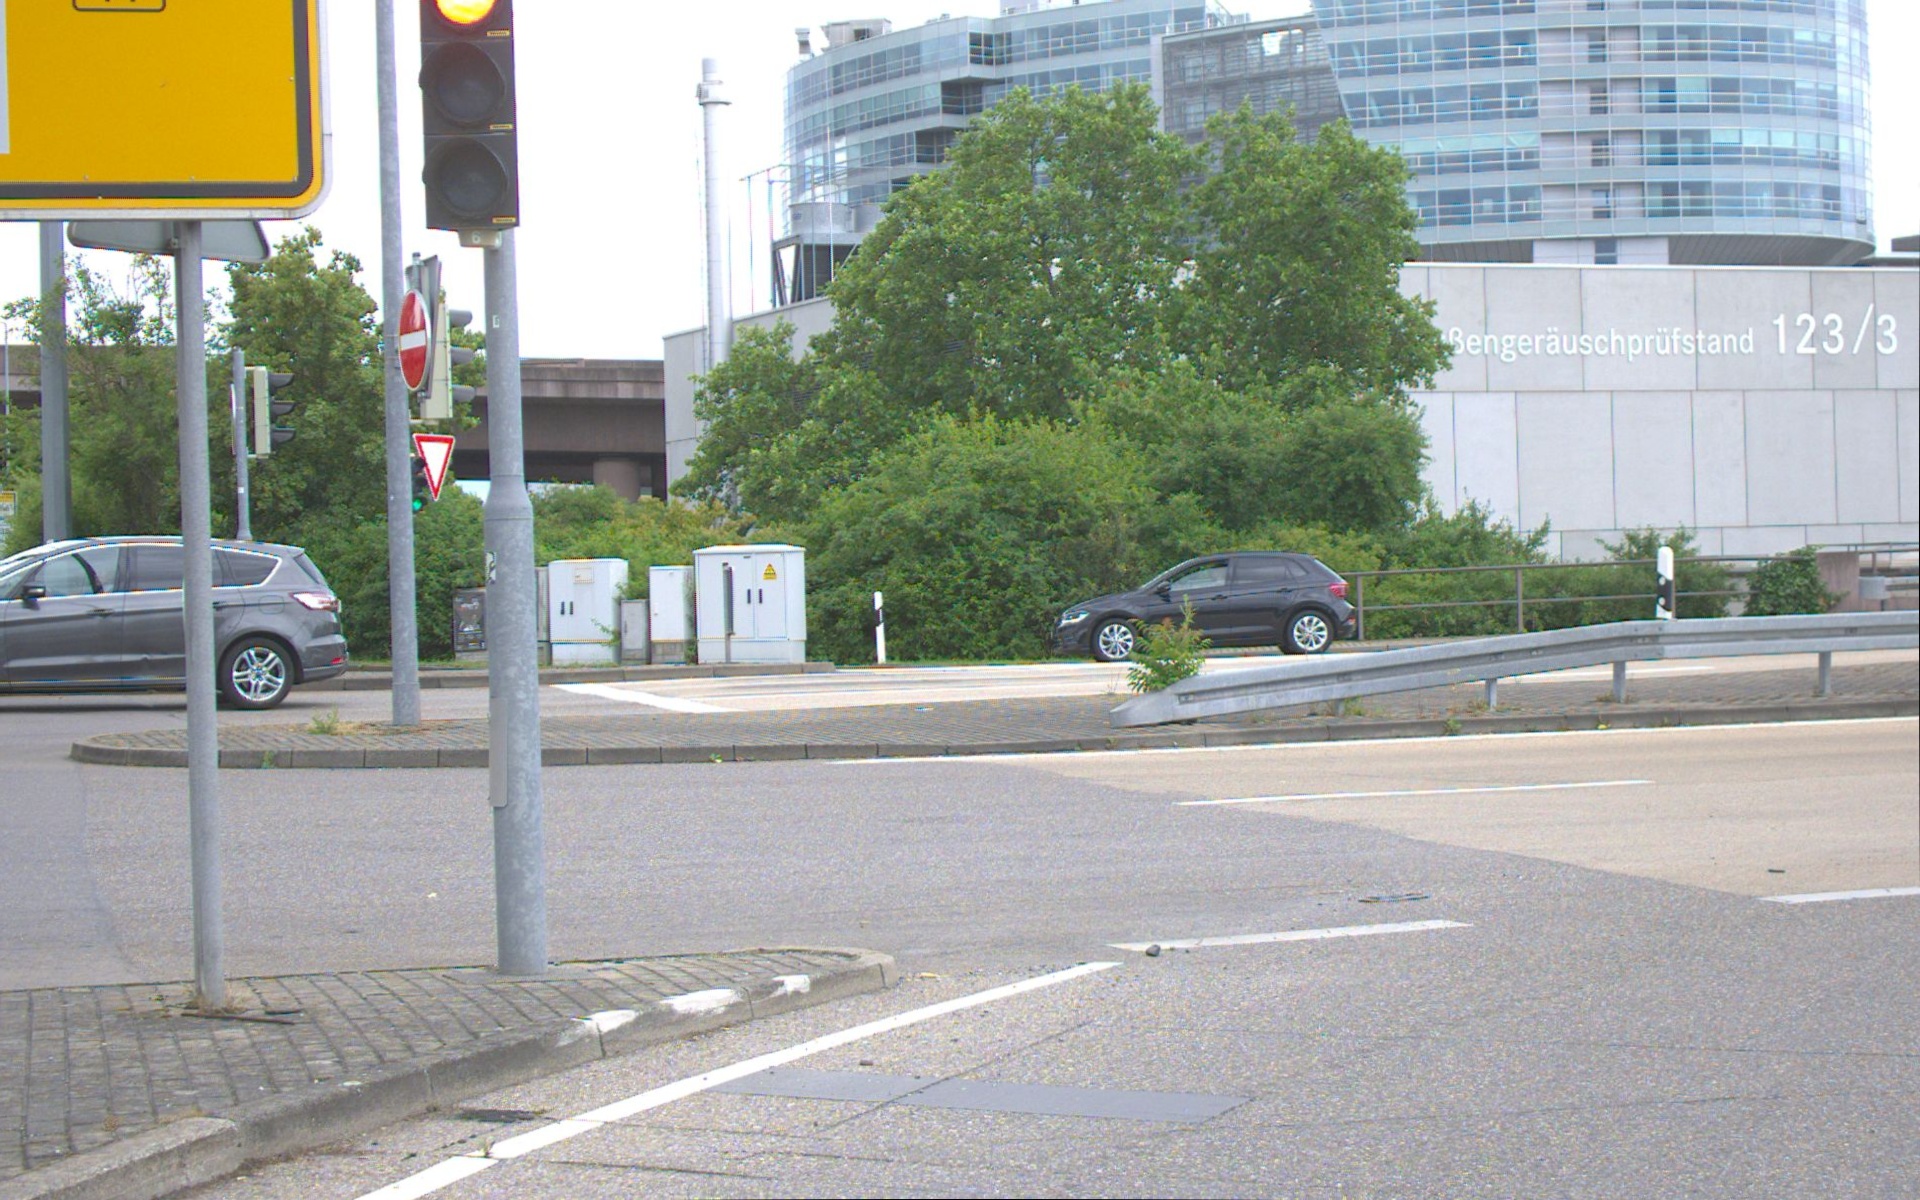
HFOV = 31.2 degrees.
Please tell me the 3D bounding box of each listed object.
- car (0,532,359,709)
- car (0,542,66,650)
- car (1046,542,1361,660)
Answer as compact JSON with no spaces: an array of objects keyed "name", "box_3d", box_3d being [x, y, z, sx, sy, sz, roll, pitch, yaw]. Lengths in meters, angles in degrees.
[{"name":"car","box_3d":[-8.232,0.165,32.564,4.677,1.566,1.956,-1,2,-23]},{"name":"car","box_3d":[-16.702,-0.154,56.377,1.910,1.656,4.745,2,1,-42]},{"name":"car","box_3d":[3.228,-0.007,46.133,3.980,1.416,1.916,-2,1,-2]}]
